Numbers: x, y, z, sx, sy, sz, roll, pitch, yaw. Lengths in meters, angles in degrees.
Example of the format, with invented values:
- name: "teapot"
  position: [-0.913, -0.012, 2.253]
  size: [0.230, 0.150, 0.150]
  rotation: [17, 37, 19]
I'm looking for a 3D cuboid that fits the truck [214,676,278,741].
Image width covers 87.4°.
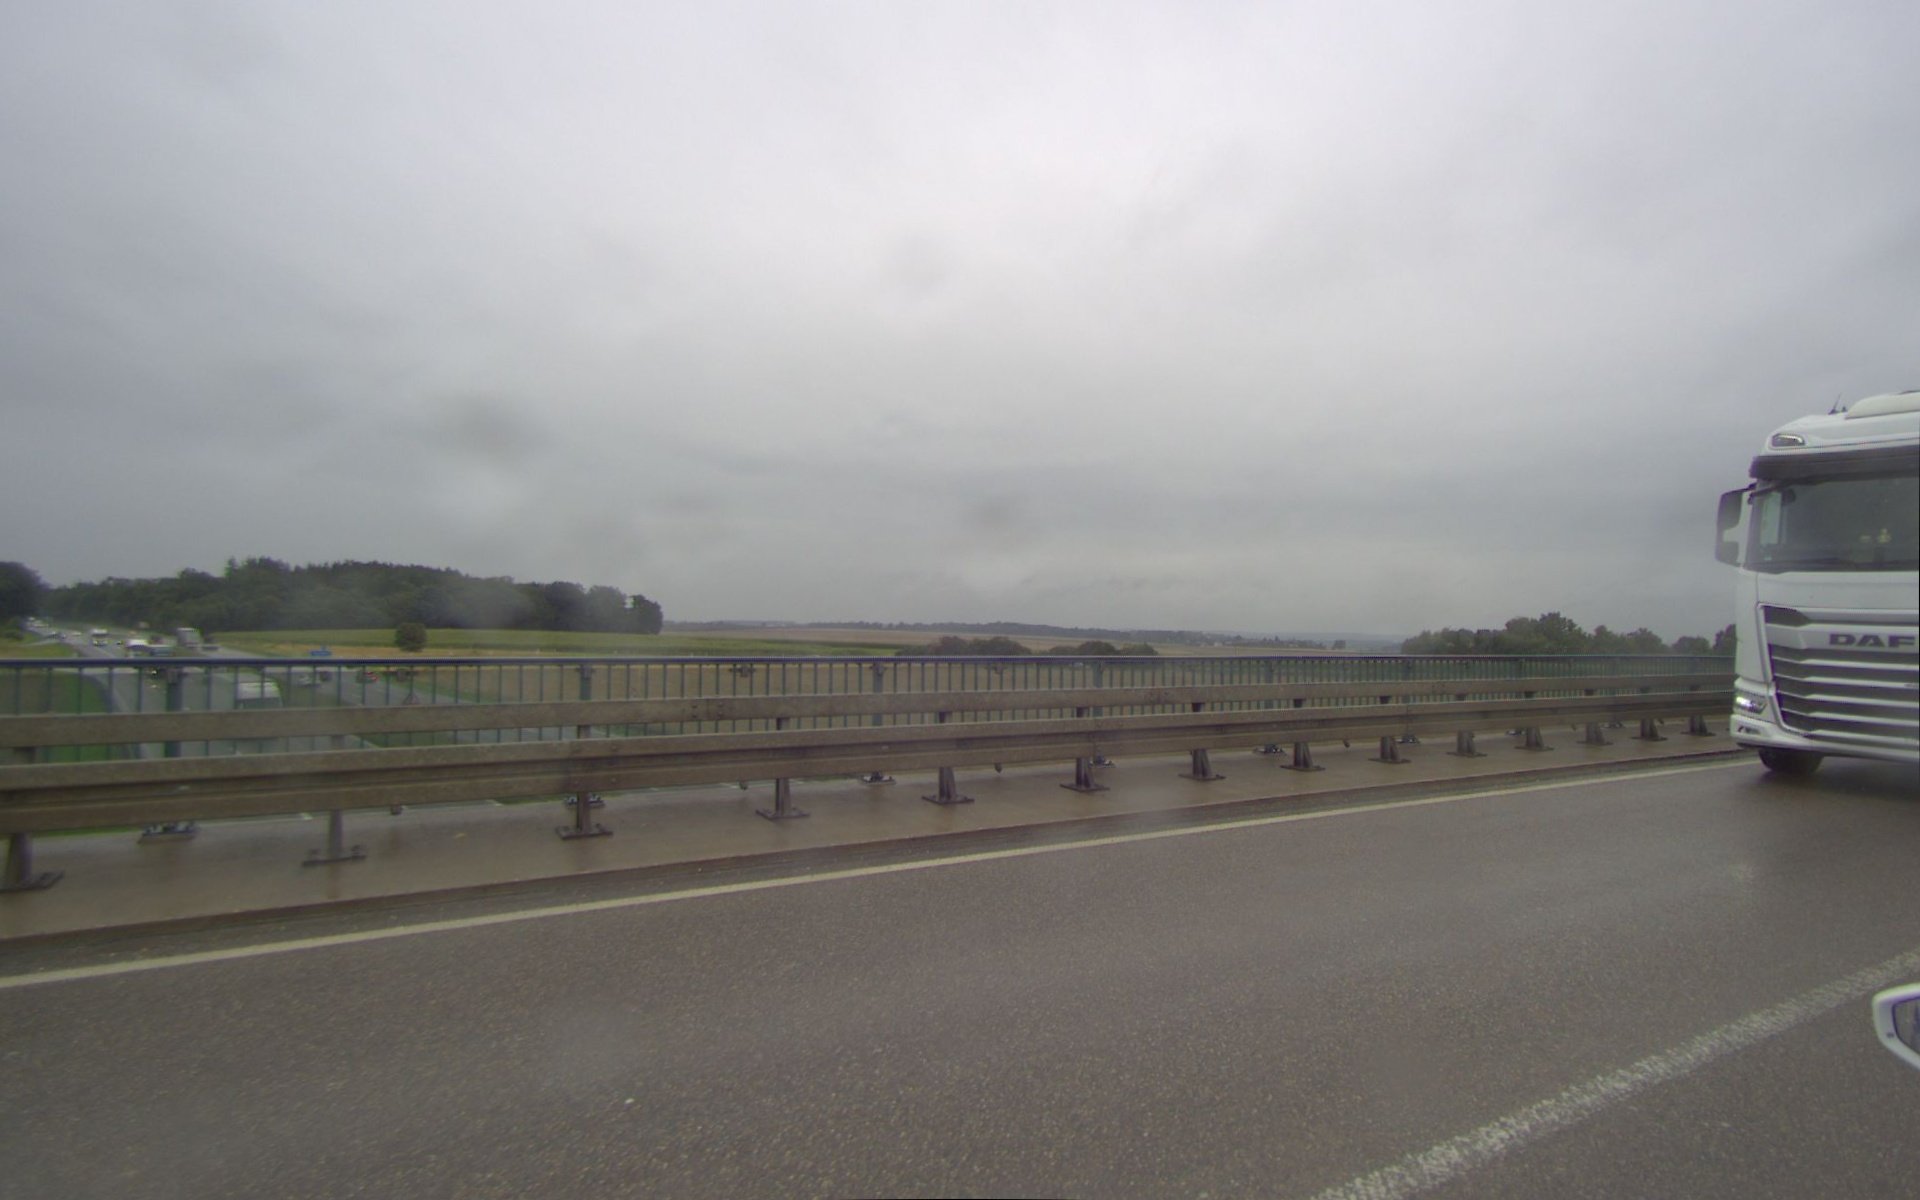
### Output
- name: "truck"
  position: [-53.102, 7.901, 74.546]
  size: [2.765, 3.920, 10.516]
  rotation: [3, -2, -41]

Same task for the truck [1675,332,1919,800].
- name: "truck"
  position: [11.708, -0.176, 11.276]
  size: [8.664, 4.023, 2.803]
  rotation: [2, -1, -31]

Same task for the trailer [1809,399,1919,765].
- name: "trailer"
  position: [16.548, -0.006, 14.205]
  size: [13.580, 4.023, 2.803]
  rotation: [2, -1, -31]

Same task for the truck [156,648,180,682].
- name: "truck"
  position: [-107.660, 8.728, 136.579]
  size: [2.219, 3.749, 9.749]
  rotation: [1, 2, -36]
